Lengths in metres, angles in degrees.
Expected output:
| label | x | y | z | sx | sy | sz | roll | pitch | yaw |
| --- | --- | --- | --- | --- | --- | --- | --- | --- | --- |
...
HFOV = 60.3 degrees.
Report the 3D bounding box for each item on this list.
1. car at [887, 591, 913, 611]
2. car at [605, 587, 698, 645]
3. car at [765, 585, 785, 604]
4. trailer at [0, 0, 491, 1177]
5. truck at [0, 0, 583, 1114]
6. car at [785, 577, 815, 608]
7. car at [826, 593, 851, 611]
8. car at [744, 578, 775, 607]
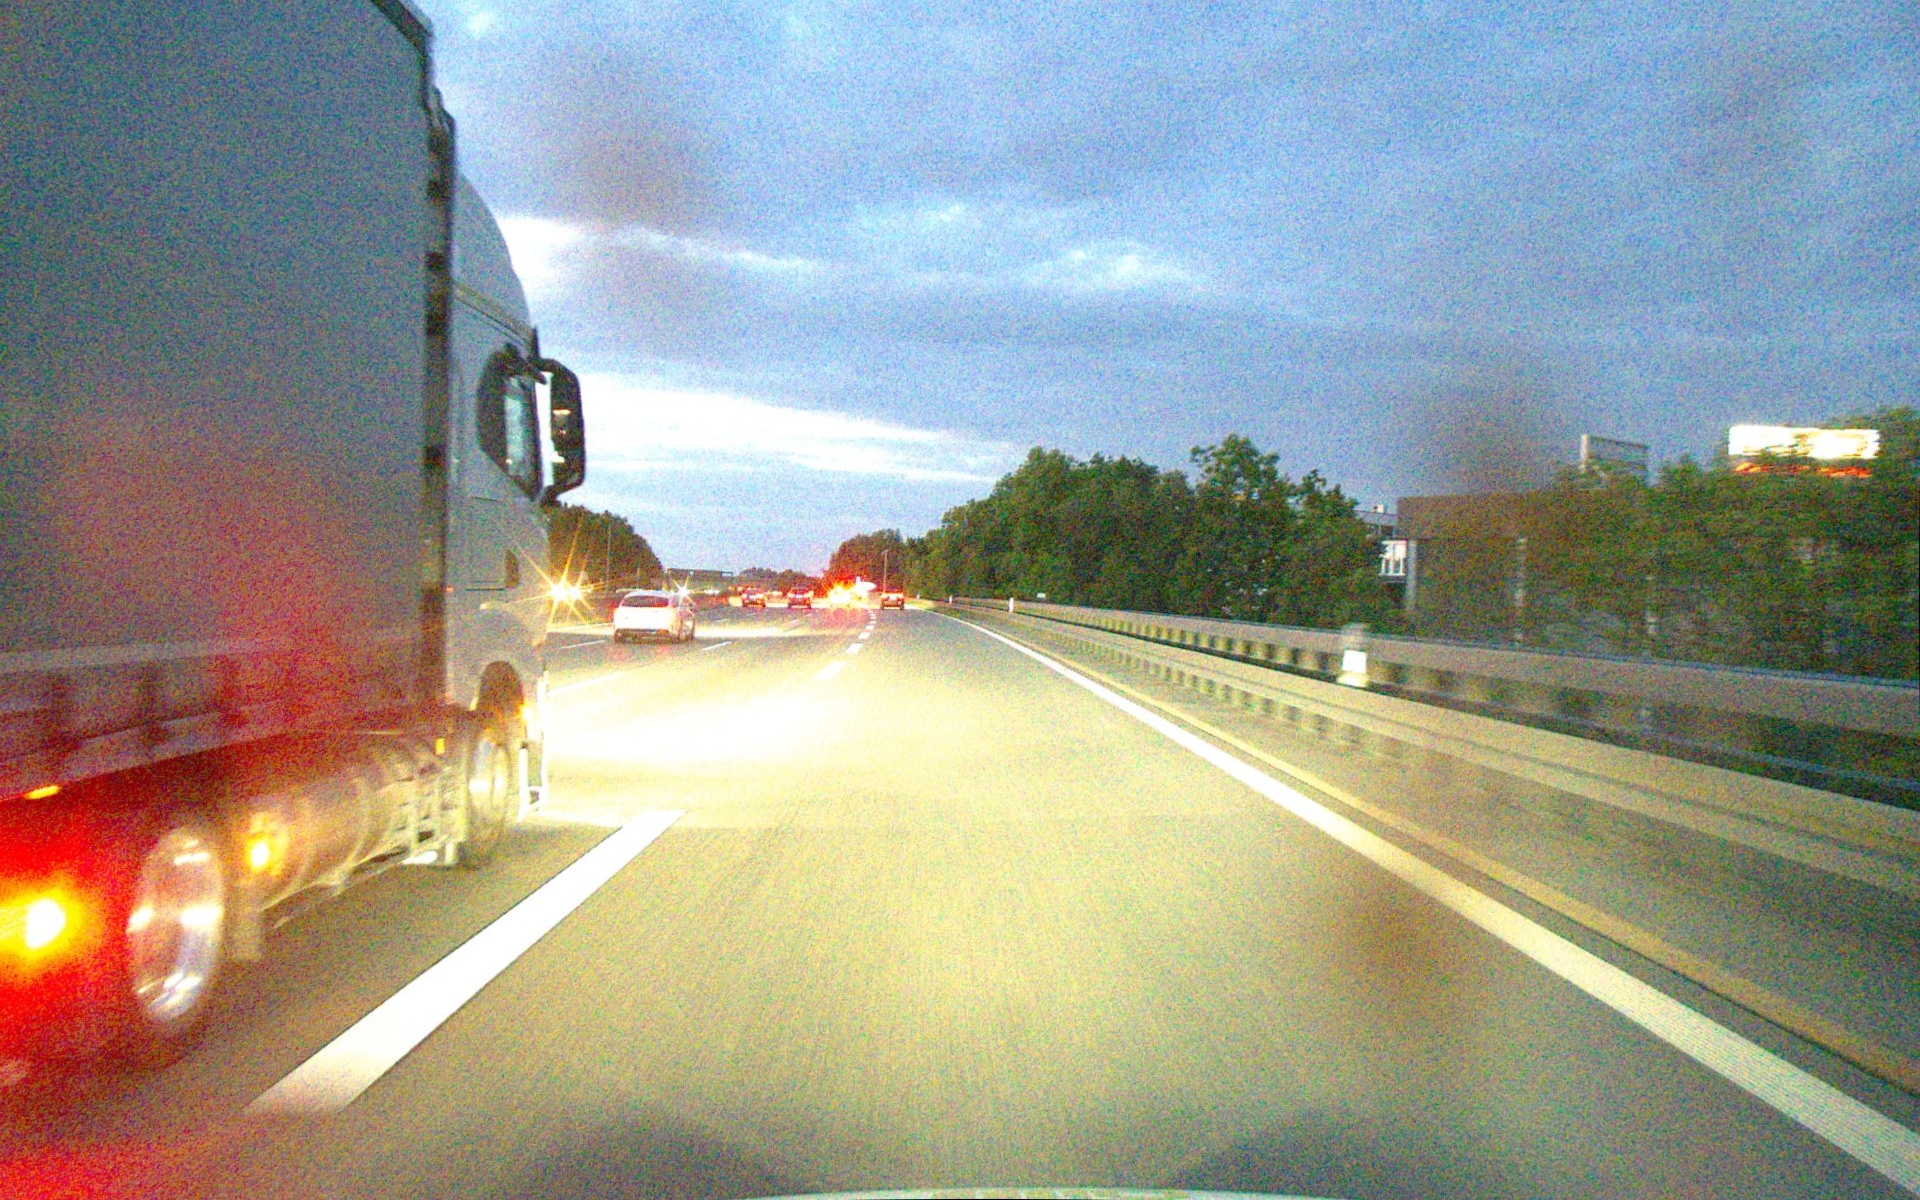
| label | x | y | z | sx | sy | sz | roll | pitch | yaw |
| --- | --- | --- | --- | --- | --- | --- | --- | --- | --- |
| car | -4.708 | 0.107 | 129.911 | 1.953 | 1.378 | 3.998 | 2 | -3 | -1 |
| car | -8.663 | 0.450 | 46.807 | 1.860 | 1.521 | 4.149 | 2 | 0 | -1 |
| car | -22.768 | -0.644 | 204.046 | 1.953 | 2.049 | 3.999 | 2 | -3 | 0 |
| trailer | -3.957 | -0.703 | 0.716 | 3.478 | 4.188 | 15.059 | 1 | 0 | -1 |
| truck | -4.089 | -0.763 | 7.375 | 3.478 | 4.162 | 6.150 | 1 | 0 | -1 |
| car | -12.450 | -0.566 | 128.833 | 1.953 | 2.116 | 3.998 | 2 | -3 | -1 |
| car | -10.372 | 0.182 | 141.565 | 1.846 | 1.378 | 3.998 | 2 | -3 | -1 |
| car | -16.082 | -0.555 | 132.864 | 1.953 | 2.083 | 3.998 | 2 | -3 | -1 |
